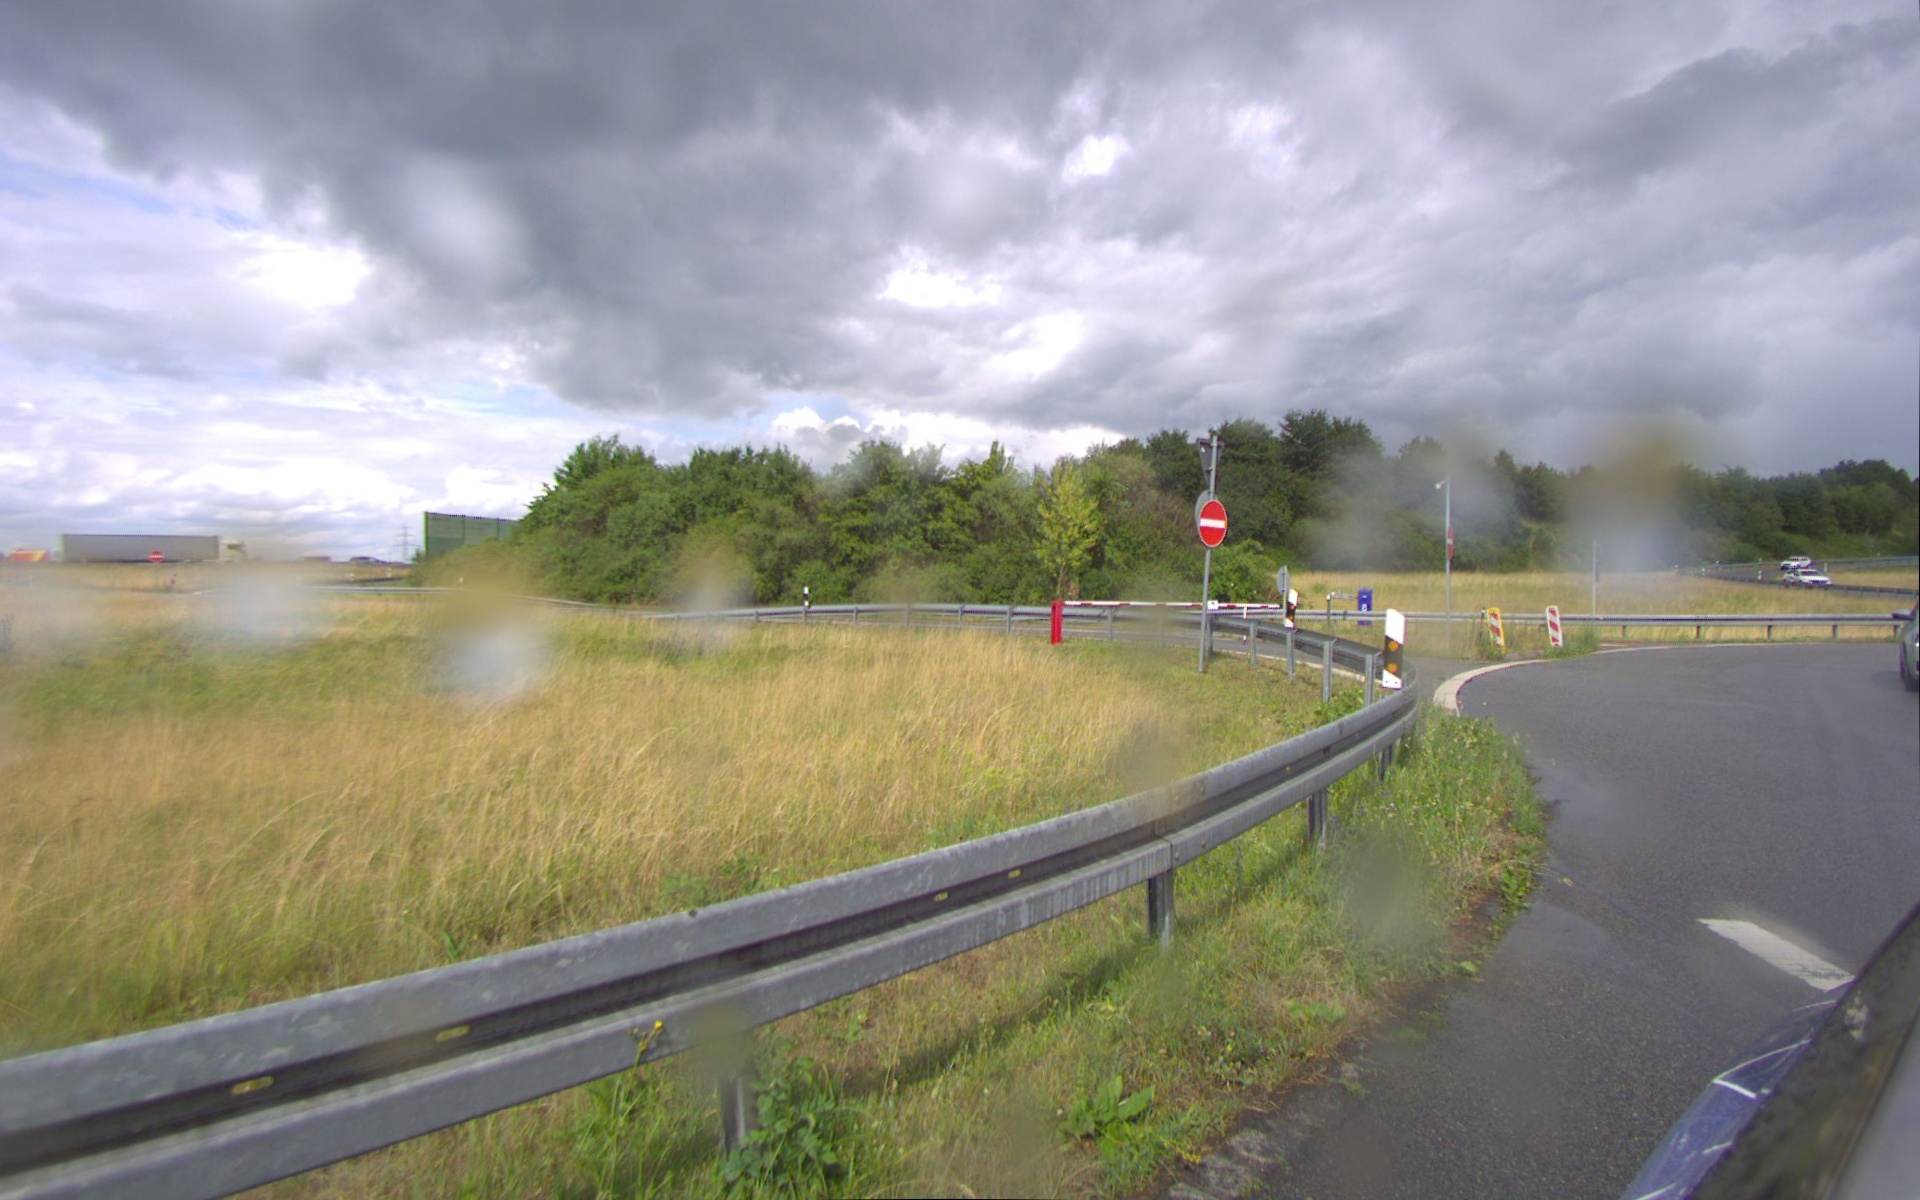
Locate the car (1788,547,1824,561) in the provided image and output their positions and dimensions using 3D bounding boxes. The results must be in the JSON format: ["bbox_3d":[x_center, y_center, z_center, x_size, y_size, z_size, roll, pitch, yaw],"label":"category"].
[{"bbox_3d":[104.301,-5.658,124.813,3.813,1.664,1.770,-2,0,-22],"label":"car"}]

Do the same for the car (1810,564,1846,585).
[{"bbox_3d":[65.523,-1.935,76.379,1.970,1.556,3.869,1,1,42],"label":"car"}]

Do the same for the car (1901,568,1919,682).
[{"bbox_3d":[14.017,0.295,13.632,1.791,1.415,4.285,3,3,41],"label":"car"}]
